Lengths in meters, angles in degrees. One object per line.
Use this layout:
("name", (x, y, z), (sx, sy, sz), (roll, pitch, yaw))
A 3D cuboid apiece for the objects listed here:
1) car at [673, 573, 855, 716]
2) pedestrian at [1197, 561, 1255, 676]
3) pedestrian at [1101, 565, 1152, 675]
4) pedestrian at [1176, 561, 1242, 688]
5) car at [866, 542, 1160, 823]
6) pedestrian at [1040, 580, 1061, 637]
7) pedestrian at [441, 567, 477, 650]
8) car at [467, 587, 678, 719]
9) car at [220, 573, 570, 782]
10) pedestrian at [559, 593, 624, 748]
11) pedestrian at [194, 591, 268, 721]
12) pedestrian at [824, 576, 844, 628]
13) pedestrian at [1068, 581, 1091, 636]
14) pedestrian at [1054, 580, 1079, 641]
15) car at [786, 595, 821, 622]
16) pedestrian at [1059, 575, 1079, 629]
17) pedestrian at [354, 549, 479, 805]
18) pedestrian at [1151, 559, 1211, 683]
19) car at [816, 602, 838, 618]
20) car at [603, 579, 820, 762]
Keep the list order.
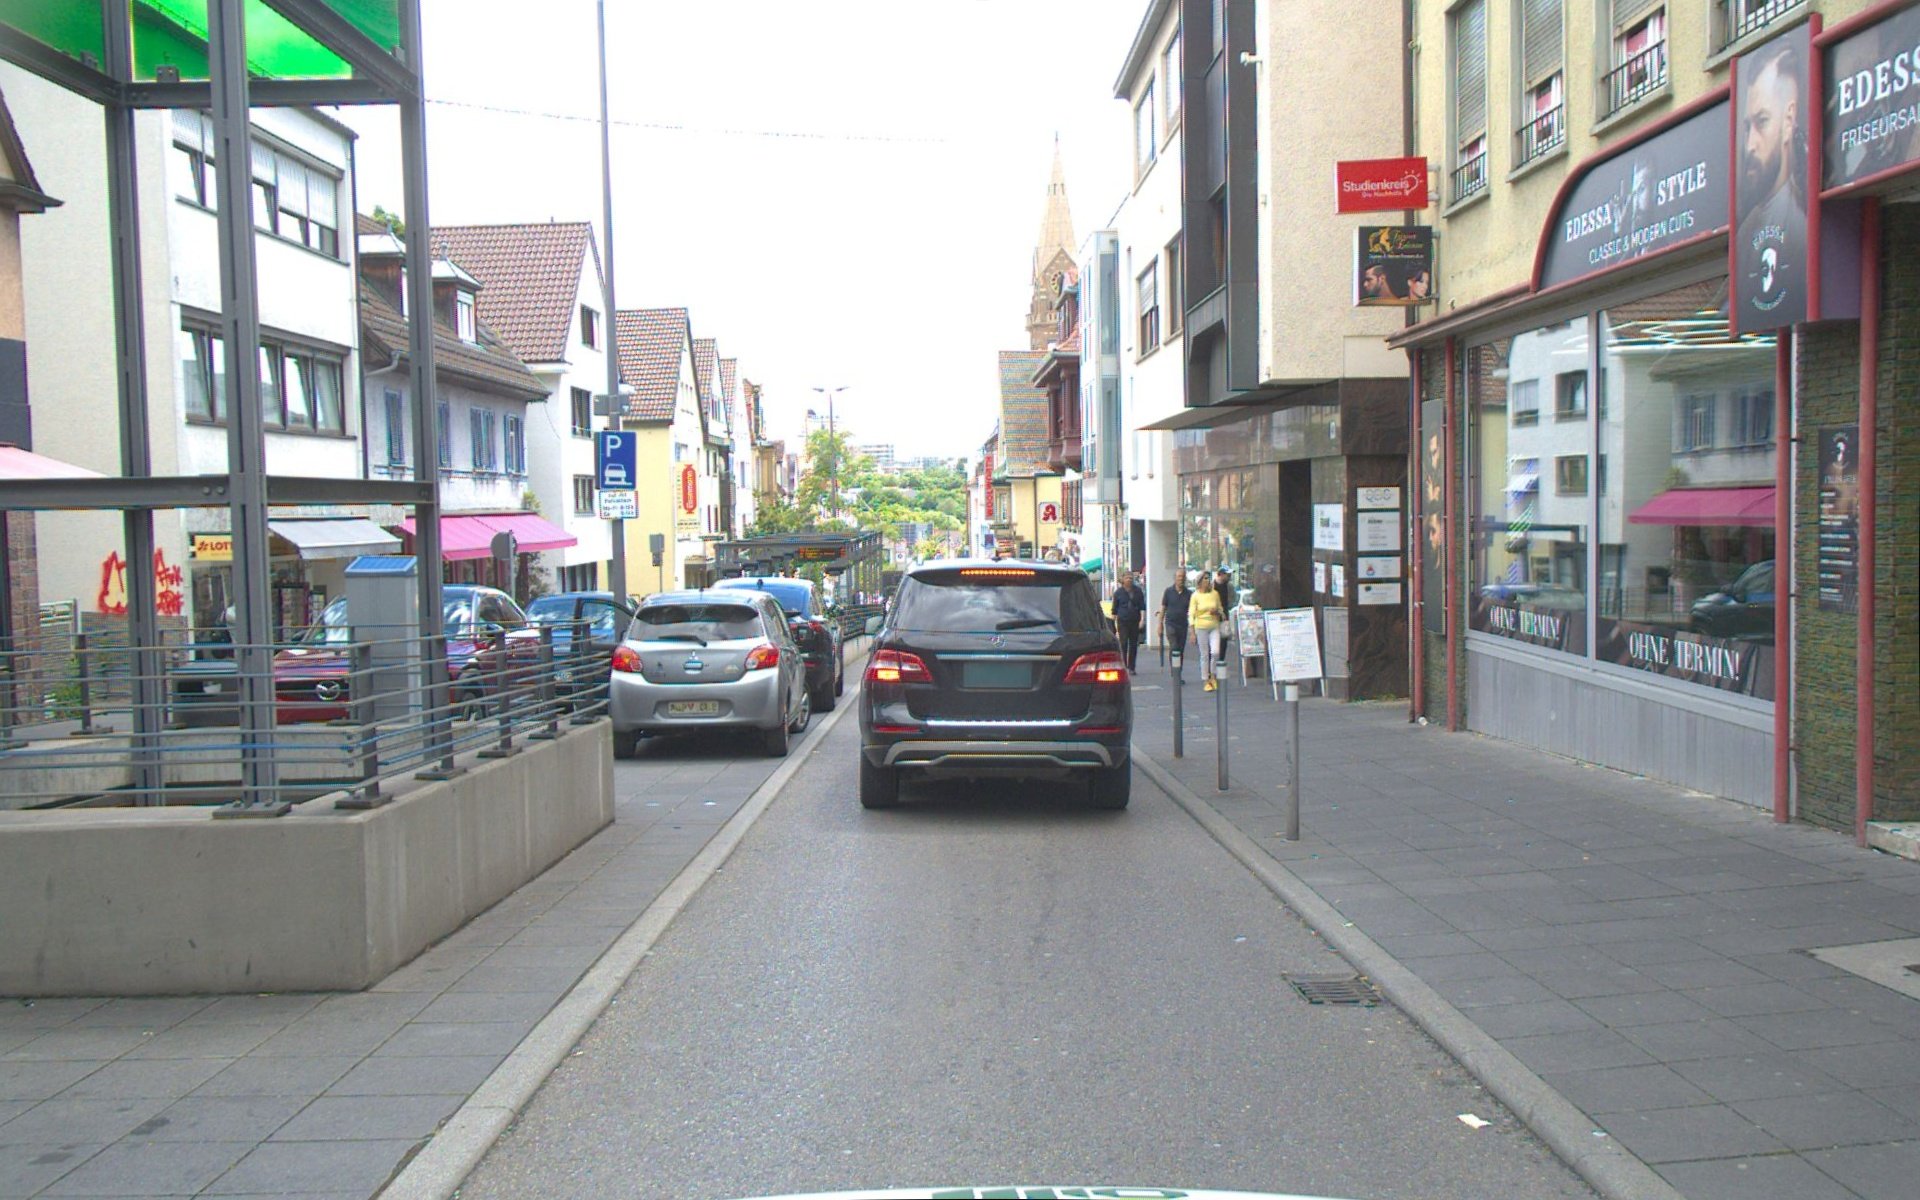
("car", (-2.442, 0.522, 21.621), (1.917, 1.668, 4.313), (1, 0, -1))
("pedestrian", (4.101, 0.278, 25.553), (0.650, 1.718, 0.542), (-4, 0, -7))
("pedestrian", (2.789, 0.335, 27.758), (0.696, 1.784, 0.787), (-3, 0, -1))
("pedestrian", (3.401, 0.326, 22.625), (0.696, 1.659, 0.835), (-3, 0, -1))
("car", (0.258, 0.528, 12.591), (1.862, 1.777, 3.998), (1, 0, -3))
("pedestrian", (2.800, 0.256, 51.213), (0.532, 1.756, 0.527), (-1, 0, -7))
("pedestrian", (-10.509, 0.185, 34.713), (0.566, 1.718, 0.576), (1, 0, -1))
("car", (-4.914, 0.611, 21.505), (1.703, 1.501, 3.885), (1, 1, 2))
("car", (-4.794, 0.586, 14.685), (1.703, 1.570, 4.192), (1, 0, -1))
("pedestrian", (-3.577, 0.673, 16.083), (0.457, 1.456, 0.492), (-3, 0, -1))
("pedestrian", (-9.919, 0.748, 22.508), (0.634, 1.718, 0.663), (-1, 1, 39))
("pedestrian", (-4.166, 0.071, 54.693), (0.600, 1.718, 0.562), (1, 0, -10))
("pedestrian", (3.787, 0.258, 52.506), (0.562, 1.718, 0.565), (-2, 0, -7))
("pedestrian", (3.037, 0.296, 47.252), (0.609, 1.718, 0.565), (1, 0, -7))
("car", (-8.968, 0.477, 94.945), (1.626, 1.516, 3.747), (1, 0, -1))
("pedestrian", (3.513, 0.055, 53.341), (0.562, 1.718, 0.565), (1, 0, -7))
("pedestrian", (-3.747, 0.504, 11.459), (0.522, 1.701, 0.901), (0, 1, 2))
("pedestrian", (3.277, 0.307, 24.559), (0.696, 1.784, 0.785), (-3, 0, -1))
("car", (-9.437, 0.703, 117.496), (1.360, 1.089, 3.112), (-2, 0, -1))
("car", (-2.289, 0.600, 16.053), (1.587, 1.559, 3.669), (1, 0, -1))
